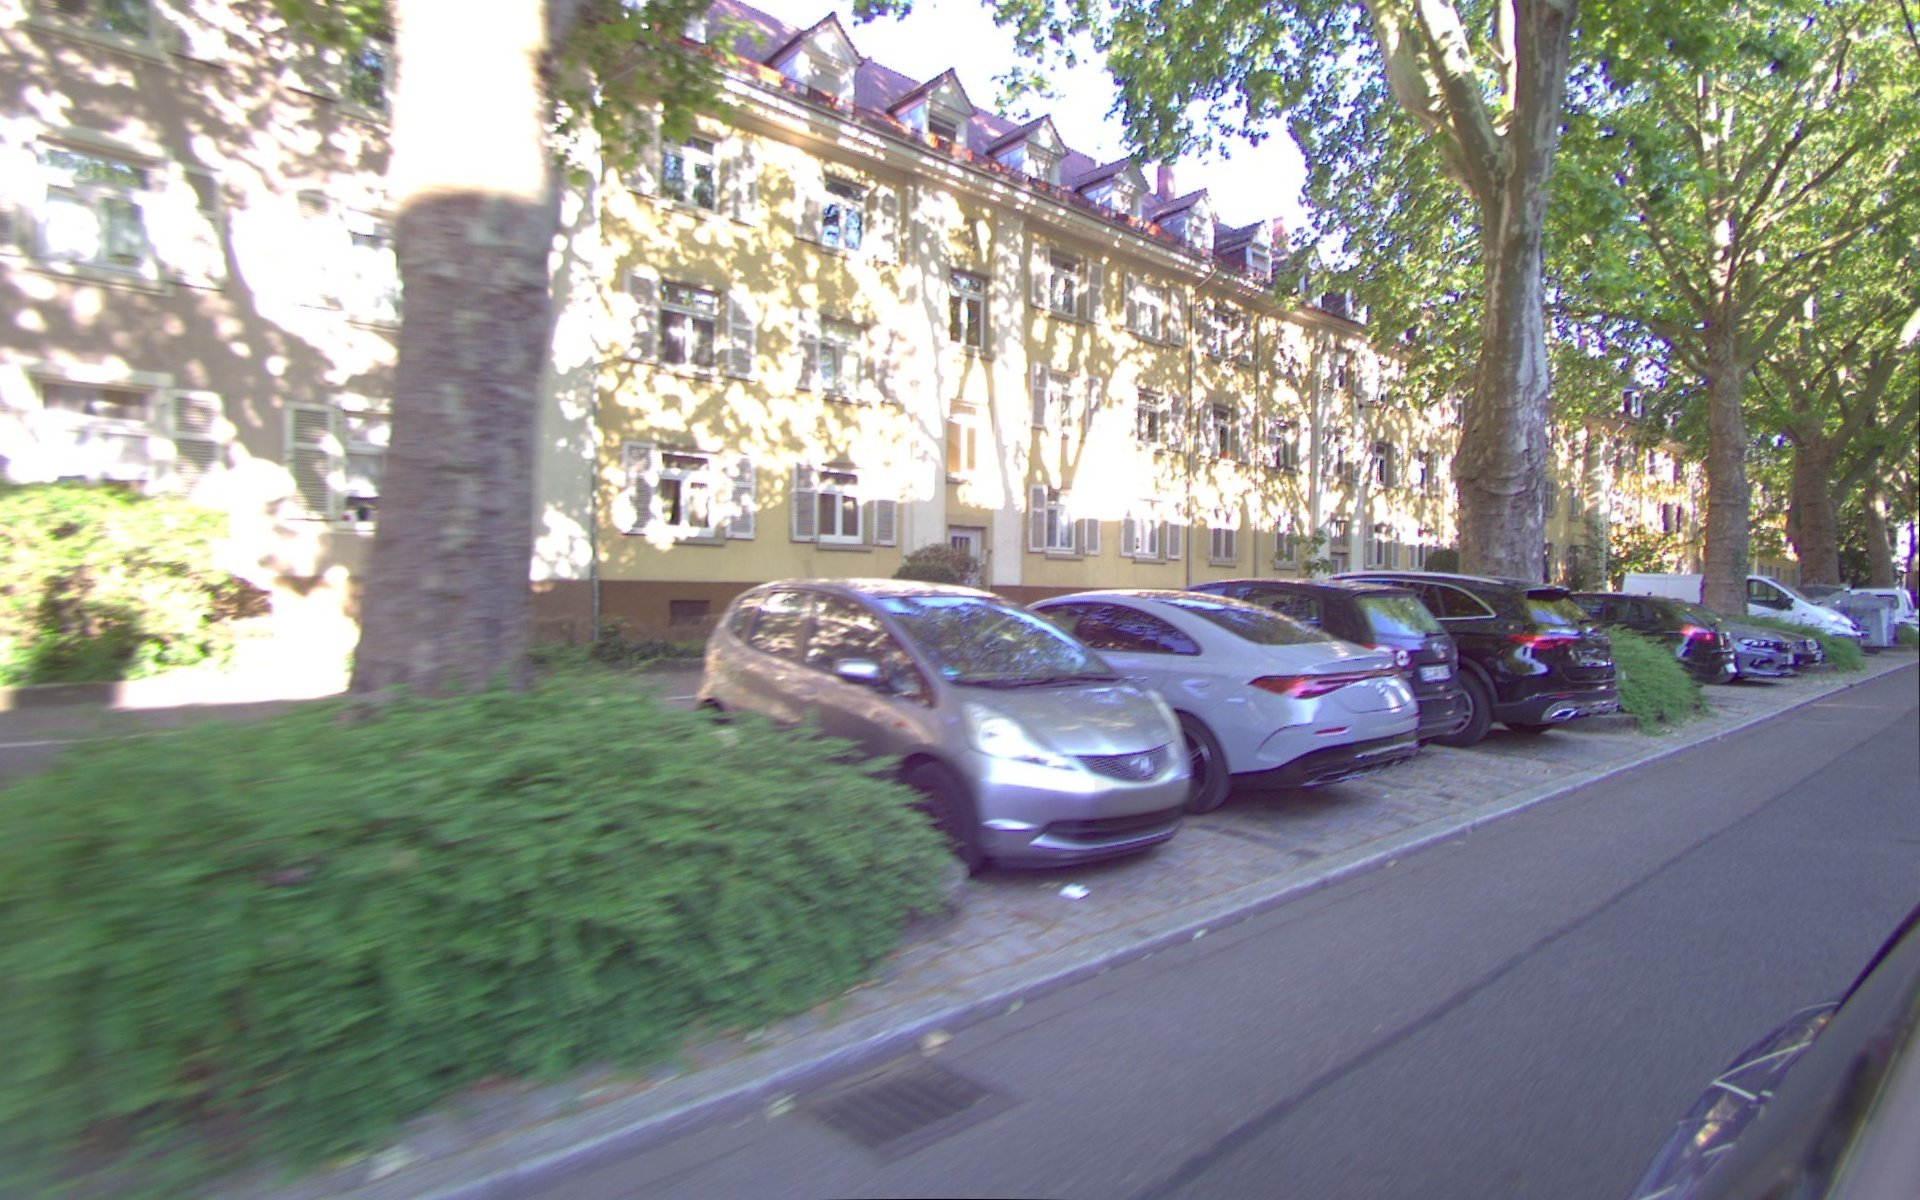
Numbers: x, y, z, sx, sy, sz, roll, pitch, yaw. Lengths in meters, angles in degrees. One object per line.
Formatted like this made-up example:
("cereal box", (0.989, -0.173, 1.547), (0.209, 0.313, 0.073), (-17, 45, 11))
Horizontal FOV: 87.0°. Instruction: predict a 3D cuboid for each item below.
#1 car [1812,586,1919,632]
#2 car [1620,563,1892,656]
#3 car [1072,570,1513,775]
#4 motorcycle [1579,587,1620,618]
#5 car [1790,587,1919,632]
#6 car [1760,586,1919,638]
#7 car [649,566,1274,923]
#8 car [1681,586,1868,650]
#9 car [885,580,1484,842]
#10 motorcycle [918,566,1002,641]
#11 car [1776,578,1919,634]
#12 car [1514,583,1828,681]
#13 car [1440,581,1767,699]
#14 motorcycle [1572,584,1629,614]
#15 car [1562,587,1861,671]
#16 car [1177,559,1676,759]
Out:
("car", (33.634, 0.299, 36.594), (1.884, 1.540, 4.094), (-1, 2, -42))
("car", (18.780, 0.150, 24.074), (2.030, 1.988, 4.842), (0, 1, -43))
("car", (3.001, 0.506, 9.736), (1.745, 1.566, 3.687), (0, 1, -39))
("motorcycle", (24.376, 0.084, 38.554), (2.224, 1.167, 0.716), (0, 2, -41))
("car", (31.694, 0.304, 35.361), (1.817, 1.450, 3.856), (0, 1, -37))
("car", (28.741, 0.353, 32.574), (1.767, 1.561, 4.384), (1, 1, -37))
("car", (-0.305, 0.572, 6.495), (1.764, 1.528, 4.150), (0, 1, -40))
("car", (20.675, 0.400, 25.773), (1.645, 1.464, 3.530), (0, 1, -43))
("car", (1.473, 0.586, 7.945), (1.914, 1.457, 4.302), (0, 1, -42))
("motorcycle", (-0.024, 0.047, 20.797), (0.612, 1.377, 1.806), (0, 4, -43))
("car", (30.210, 0.158, 34.131), (1.881, 1.794, 3.856), (0, 1, -37))
("car", (12.477, 0.469, 17.981), (1.865, 1.502, 4.255), (0, 1, -41))
("car", (9.535, 0.486, 15.226), (1.681, 1.528, 3.845), (0, 1, -41))
("motorcycle", (27.730, -0.048, 43.831), (0.701, 1.265, 1.993), (0, 1, -41))
("car", (14.582, 0.479, 19.890), (1.770, 1.397, 4.410), (-1, 1, -37))
("car", (4.787, 0.421, 11.036), (1.990, 1.621, 4.511), (0, 3, -37))
